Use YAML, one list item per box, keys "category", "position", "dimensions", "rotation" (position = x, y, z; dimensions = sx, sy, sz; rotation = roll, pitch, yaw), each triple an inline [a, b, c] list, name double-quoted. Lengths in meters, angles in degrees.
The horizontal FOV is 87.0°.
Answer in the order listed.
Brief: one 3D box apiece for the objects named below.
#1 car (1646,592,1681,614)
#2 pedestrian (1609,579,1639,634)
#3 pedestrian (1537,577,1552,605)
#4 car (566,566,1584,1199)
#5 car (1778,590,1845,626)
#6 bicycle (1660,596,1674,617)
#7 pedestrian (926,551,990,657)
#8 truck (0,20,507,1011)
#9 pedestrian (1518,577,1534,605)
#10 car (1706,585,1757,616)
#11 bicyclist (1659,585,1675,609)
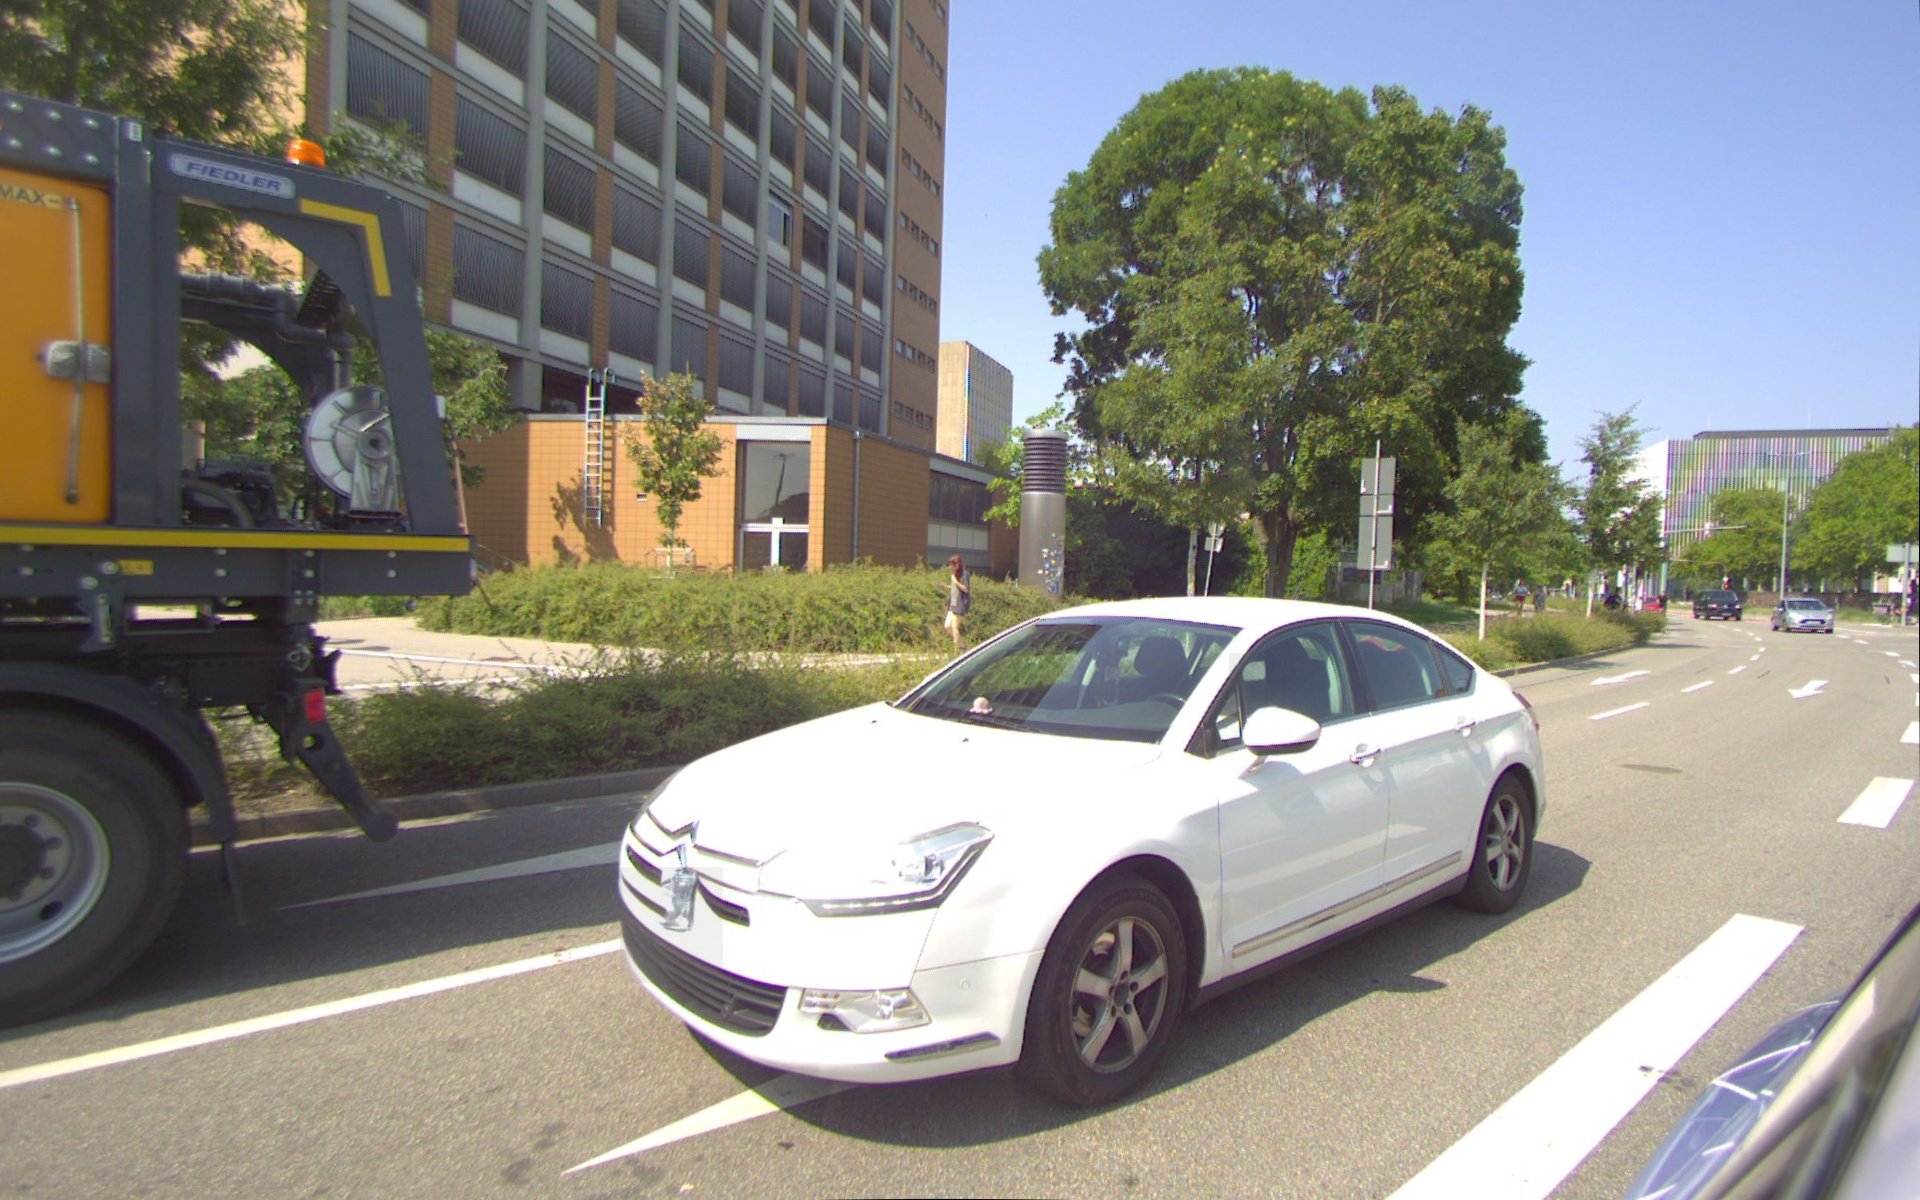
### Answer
- category: "car"
  position: [48.100, 0.171, 69.264]
  dimensions: [1.637, 1.449, 3.775]
  rotation: [1, 1, 30]
- category: "pedestrian"
  position: [23.764, 0.213, 36.242]
  dimensions: [0.818, 1.926, 0.622]
  rotation: [2, 1, 37]
- category: "pedestrian"
  position: [27.403, -0.435, 47.464]
  dimensions: [0.572, 1.315, 0.433]
  rotation: [0, 0, 29]
- category: "car"
  position: [0.898, 0.634, 4.379]
  dimensions: [4.529, 1.446, 1.772]
  rotation: [0, 2, -41]
- category: "car"
  position: [38.780, 0.329, 46.186]
  dimensions: [1.647, 1.550, 4.483]
  rotation: [0, 0, 31]
- category: "bicycle"
  position: [42.073, 0.394, 60.233]
  dimensions: [0.590, 1.183, 2.209]
  rotation: [2, 2, 33]
- category: "pedestrian"
  position: [-0.027, 0.048, 16.930]
  dimensions: [0.792, 1.720, 0.671]
  rotation: [1, 1, -42]
- category: "truck"
  position: [-5.283, -0.283, 3.073]
  dimensions: [6.736, 3.174, 2.498]
  rotation: [0, 0, -39]
- category: "pedestrian"
  position: [26.749, -0.422, 47.803]
  dimensions: [0.630, 1.315, 0.481]
  rotation: [0, 0, 32]
- category: "car"
  position: [49.448, 0.010, 64.959]
  dimensions: [1.874, 1.943, 4.489]
  rotation: [1, 1, 28]
- category: "bicyclist"
  position: [42.113, -0.190, 60.276]
  dimensions: [0.675, 1.417, 1.037]
  rotation: [2, 1, 33]
